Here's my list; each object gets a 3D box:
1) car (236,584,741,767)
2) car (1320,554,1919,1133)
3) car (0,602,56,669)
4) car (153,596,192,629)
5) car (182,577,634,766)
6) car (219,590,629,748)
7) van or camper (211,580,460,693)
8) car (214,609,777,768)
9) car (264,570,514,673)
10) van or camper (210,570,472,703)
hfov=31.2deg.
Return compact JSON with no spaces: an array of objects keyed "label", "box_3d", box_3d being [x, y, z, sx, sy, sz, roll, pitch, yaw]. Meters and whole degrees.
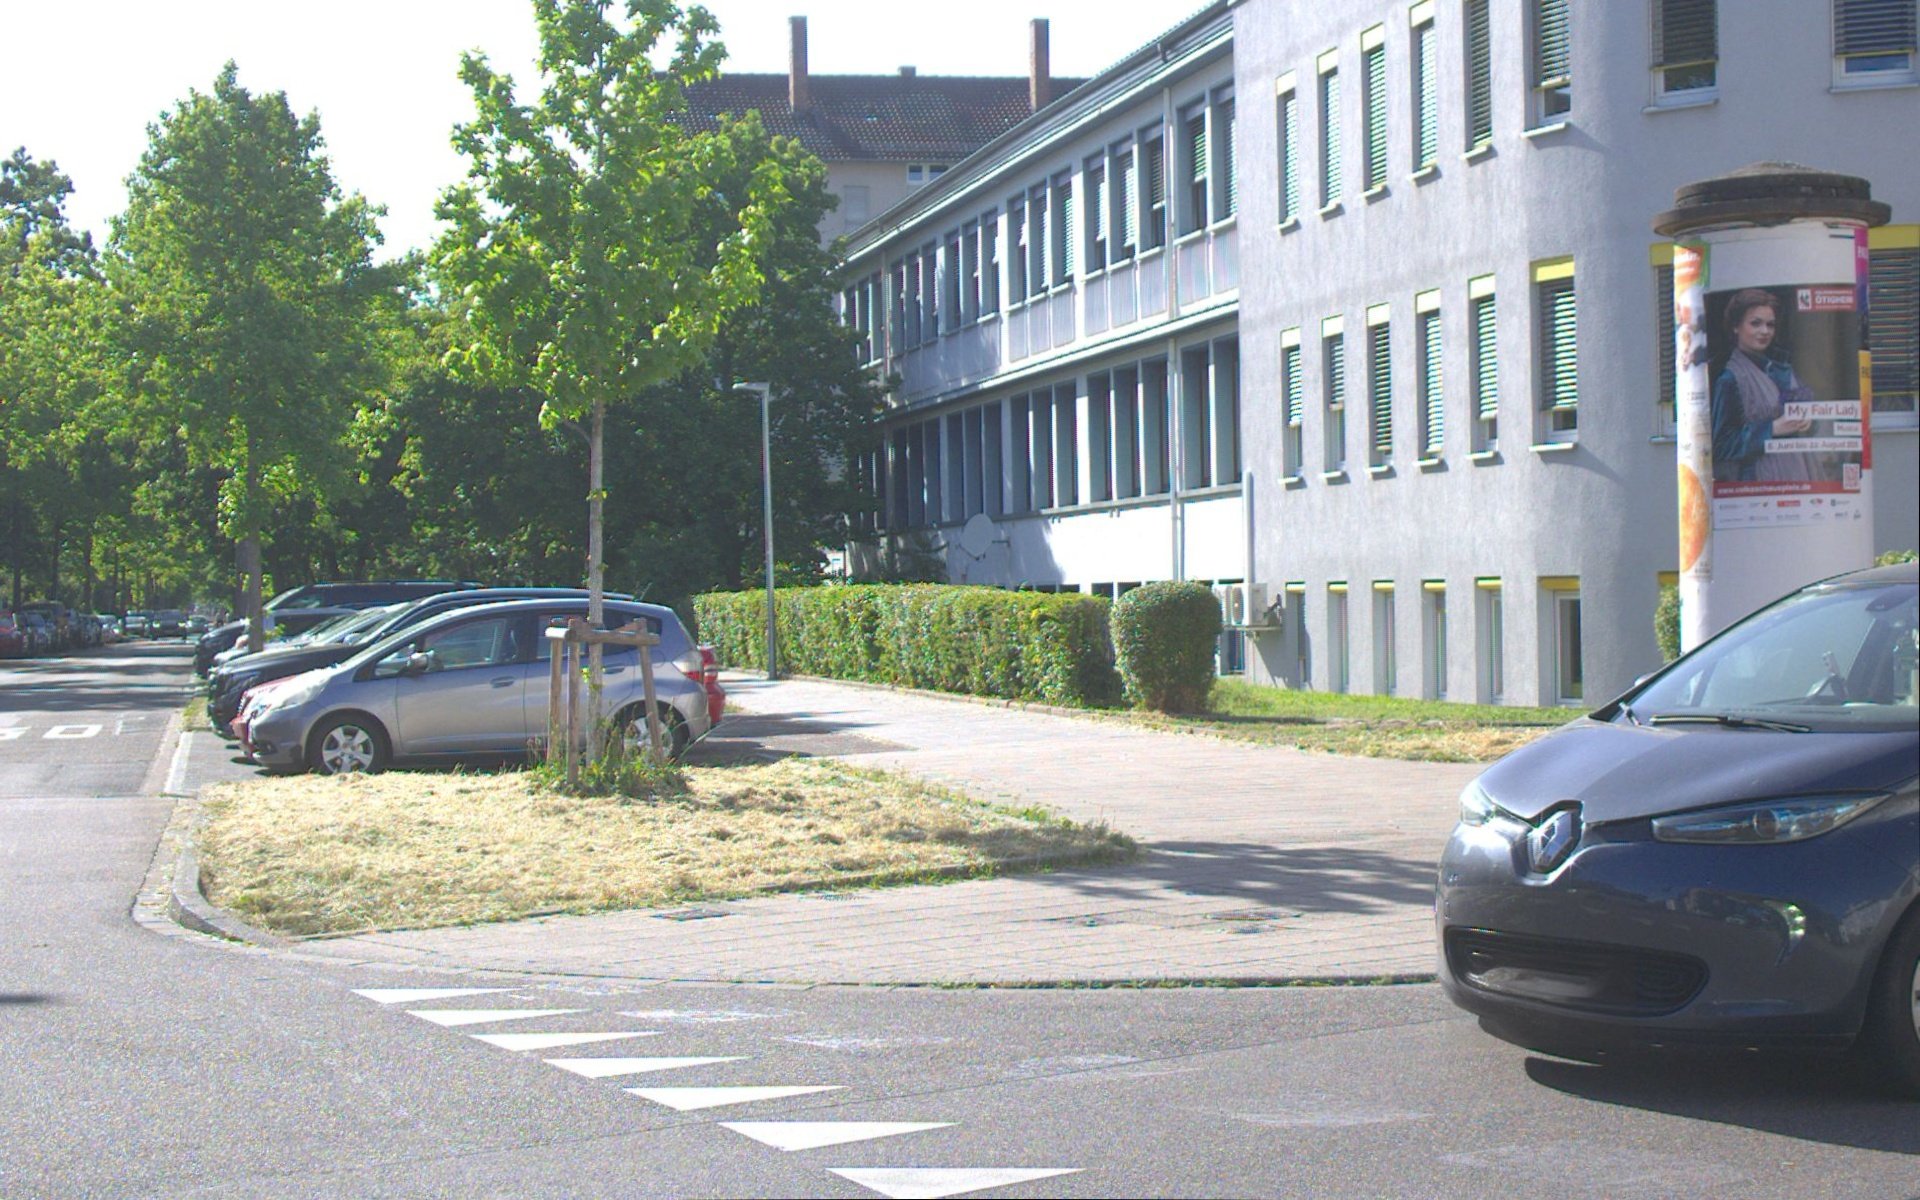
[{"label":"car","box_3d":[-4.048,0.624,29.315,4.087,1.487,1.729,0,-1,-15]},{"label":"car","box_3d":[3.292,0.648,10.889,4.125,1.499,1.842,1,0,-37]},{"label":"car","box_3d":[-29.228,1.082,105.681,1.993,2.007,4.000,1,-1,-4]},{"label":"car","box_3d":[-42.565,0.671,185.891,1.993,1.741,4.001,-1,0,-12]},{"label":"car","box_3d":[-5.548,0.718,34.356,4.277,1.759,2.000,1,-1,-14]},{"label":"car","box_3d":[-5.824,0.747,37.177,4.202,1.590,2.000,1,-1,-13]},{"label":"van or camper","box_3d":[-10.412,0.619,57.243,3.986,1.766,2.000,1,-1,-12]},{"label":"car","box_3d":[-4.253,0.778,31.353,4.868,1.270,1.729,-1,0,-16]},{"label":"car","box_3d":[-10.370,0.393,62.376,4.278,1.694,2.000,-2,0,-14]},{"label":"van or camper","box_3d":[-9.826,0.587,54.491,3.986,2.007,2.000,1,-1,-12]}]
